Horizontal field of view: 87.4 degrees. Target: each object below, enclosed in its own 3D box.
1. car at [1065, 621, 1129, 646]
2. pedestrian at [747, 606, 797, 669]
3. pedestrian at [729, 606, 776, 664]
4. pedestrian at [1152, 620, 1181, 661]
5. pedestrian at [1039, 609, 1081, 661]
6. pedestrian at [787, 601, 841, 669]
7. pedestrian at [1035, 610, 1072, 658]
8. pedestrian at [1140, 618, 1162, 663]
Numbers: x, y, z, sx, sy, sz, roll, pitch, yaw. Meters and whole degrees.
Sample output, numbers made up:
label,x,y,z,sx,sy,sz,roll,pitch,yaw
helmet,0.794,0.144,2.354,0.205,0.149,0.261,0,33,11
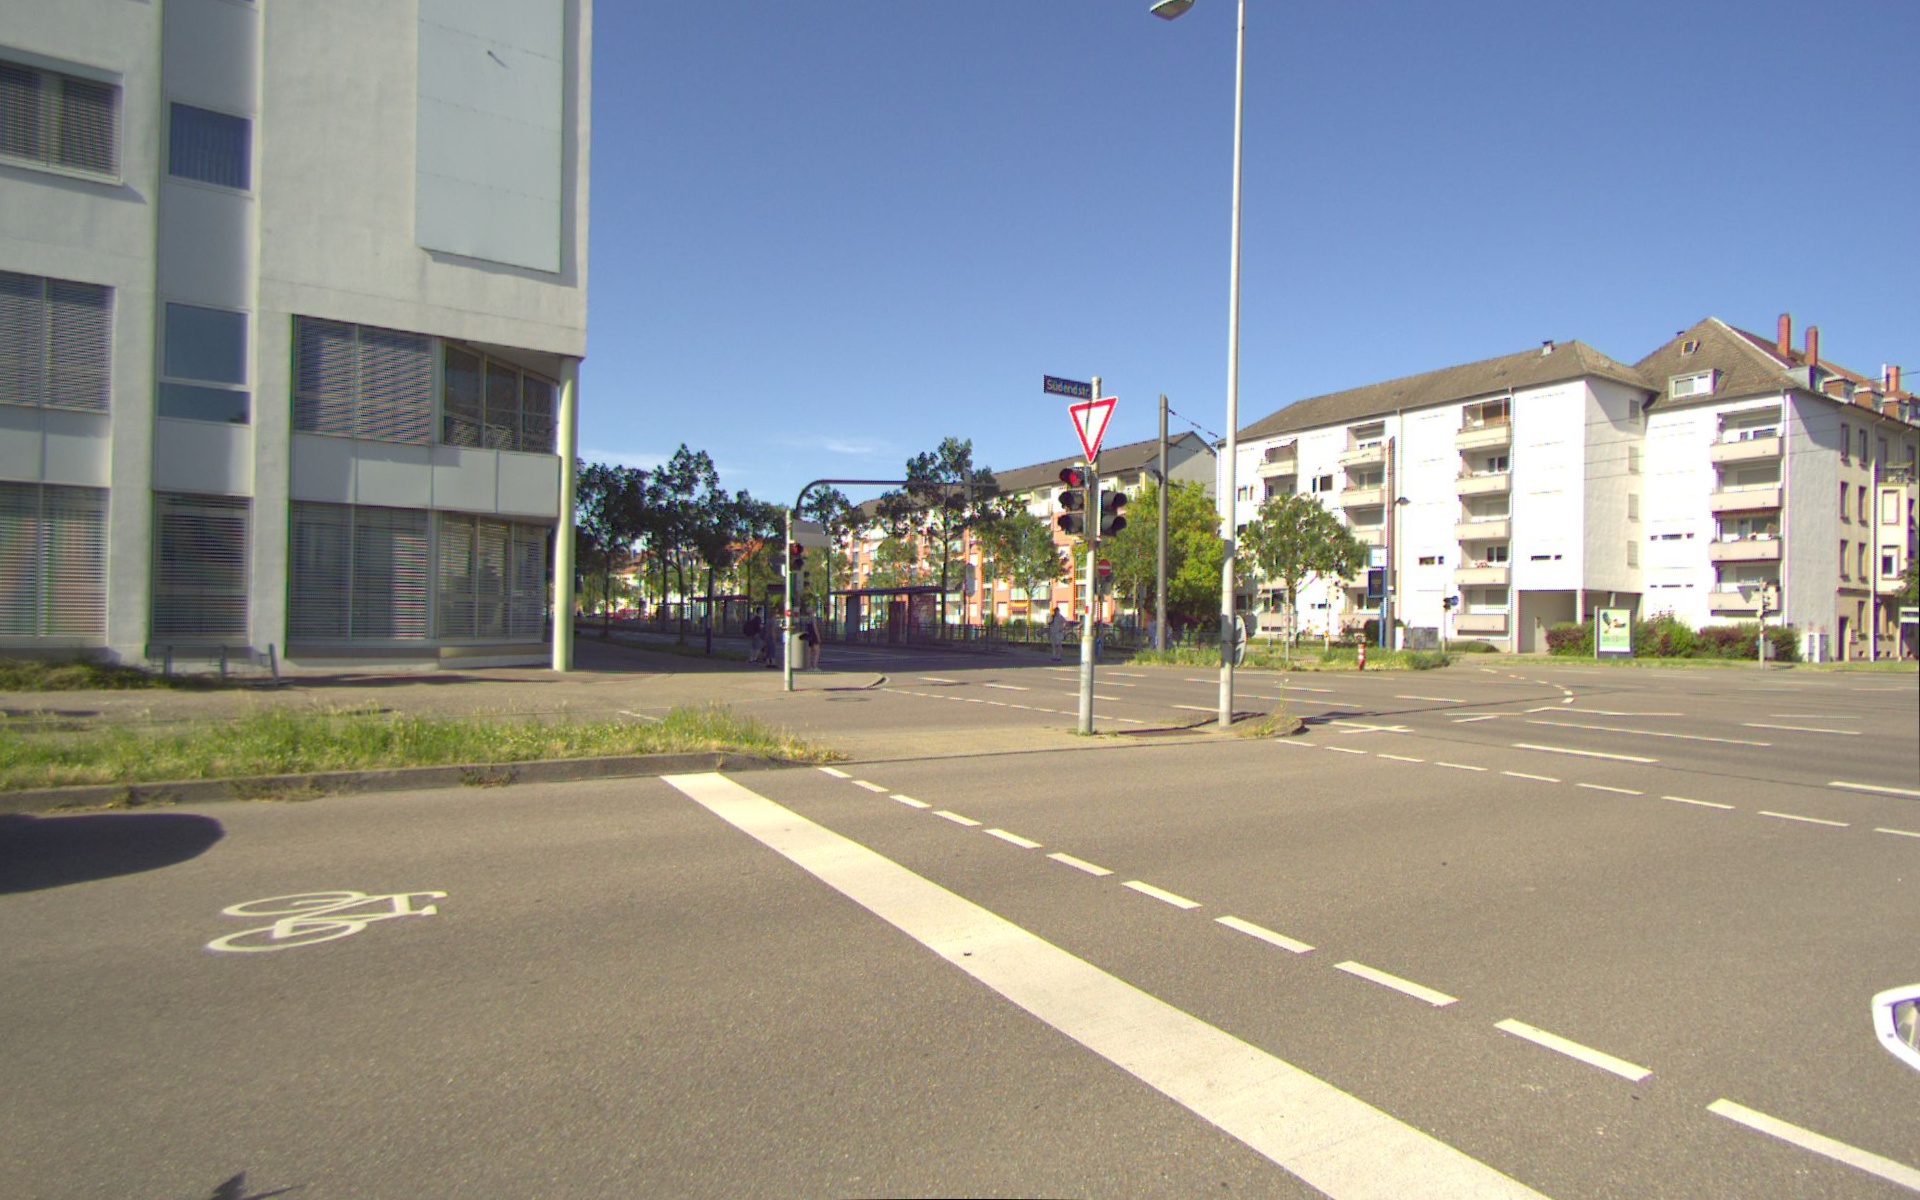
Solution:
label,x,y,z,sx,sy,sz,roll,pitch,yaw
car,9.516,2.344,70.098,4.311,1.451,1.694,3,1,7
pedestrian,-5.362,1.054,28.583,1.143,1.749,0.805,2,-2,-37
pedestrian,-6.376,1.078,30.878,1.143,1.749,0.805,2,-2,-37
pedestrian,7.916,1.536,38.487,0.850,1.554,0.719,2,-2,-37
pedestrian,3.556,1.247,35.777,1.143,1.794,0.914,2,-2,-37
pedestrian,-3.854,0.928,26.544,1.143,1.749,0.805,2,-2,-37
pedestrian,3.484,1.265,37.528,1.143,1.749,0.805,2,-2,-37
pedestrian,7.513,1.588,39.572,0.797,1.749,1.155,1,-1,10
